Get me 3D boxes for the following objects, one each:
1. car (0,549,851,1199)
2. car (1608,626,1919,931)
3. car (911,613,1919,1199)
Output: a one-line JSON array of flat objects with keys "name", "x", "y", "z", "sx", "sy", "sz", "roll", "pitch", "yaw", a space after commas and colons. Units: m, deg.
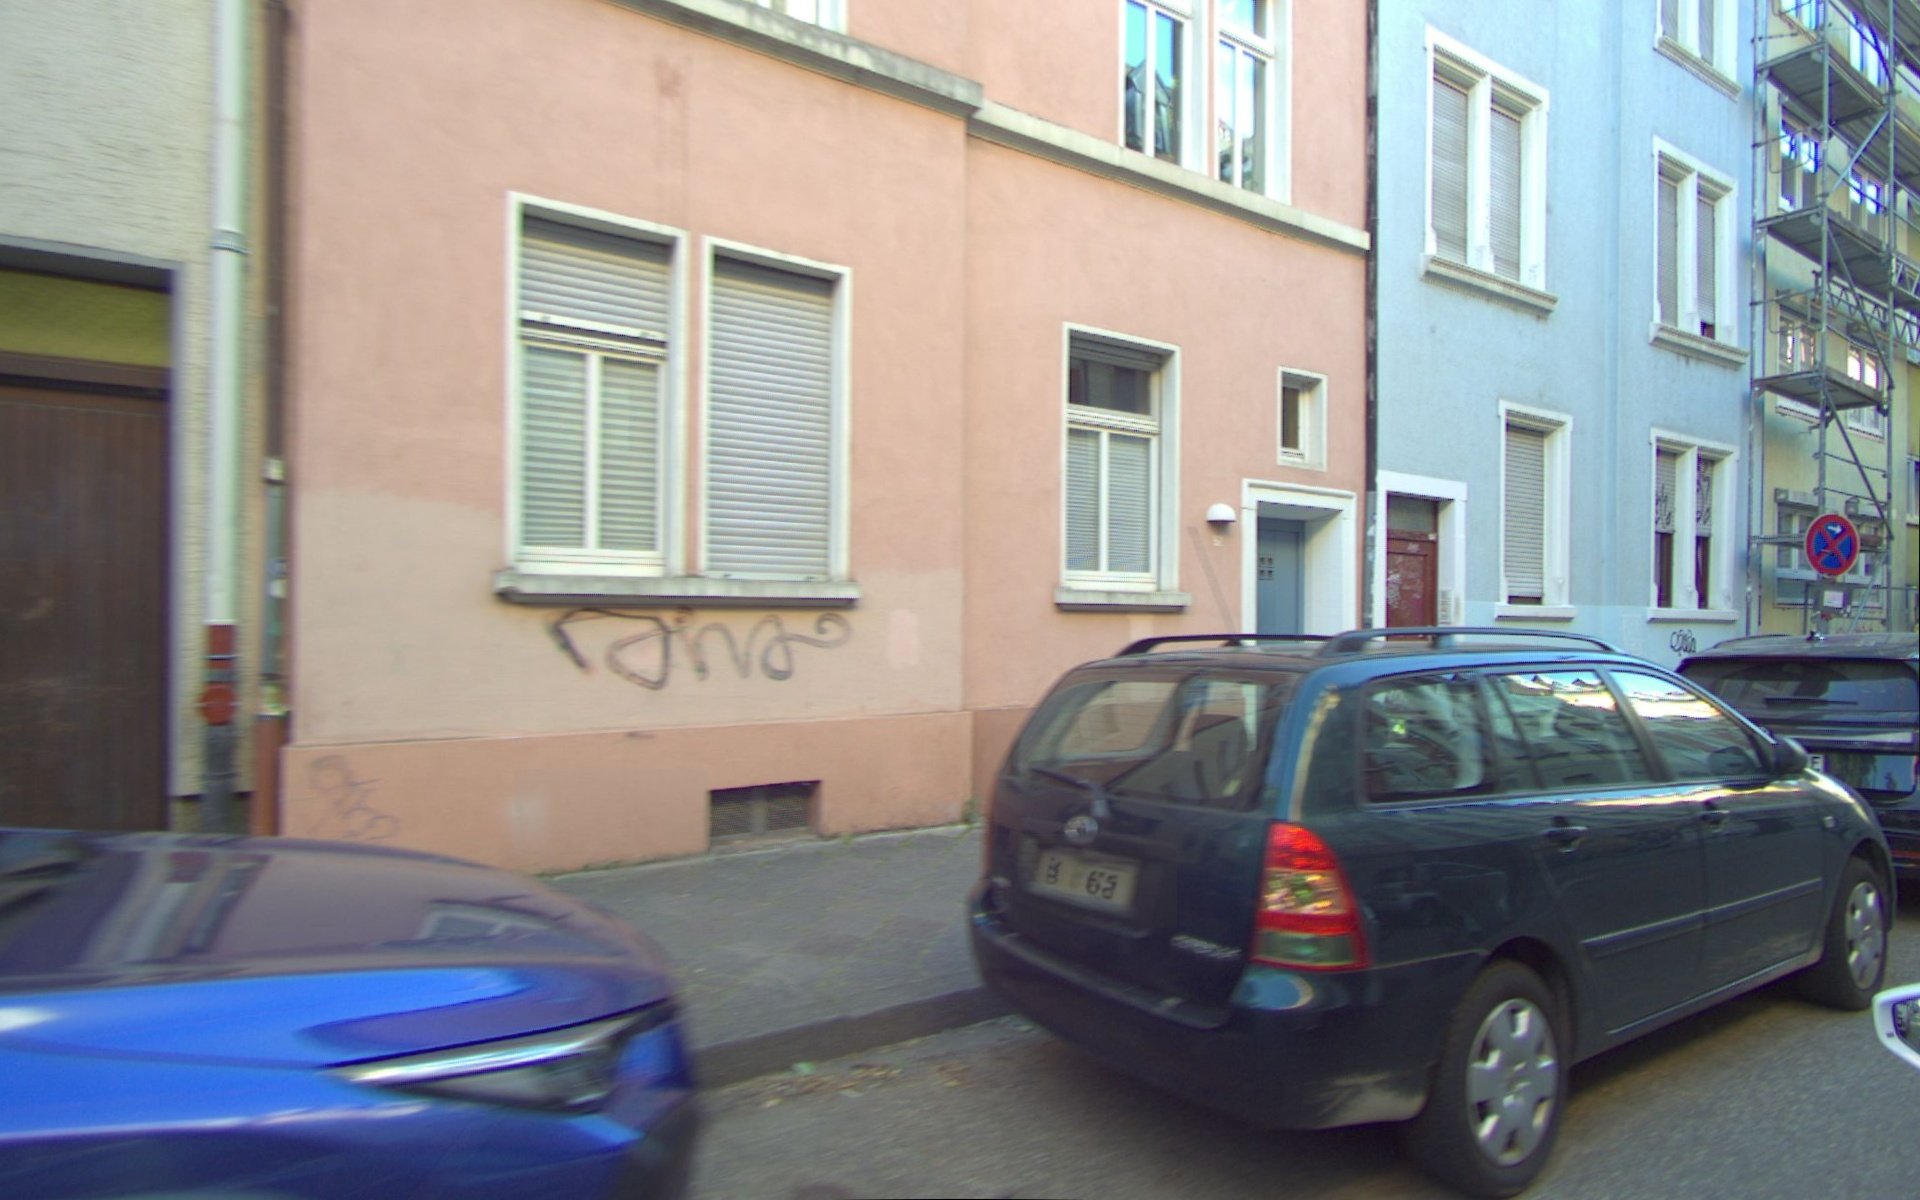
[{"name": "car", "x": -2.437, "y": 0.729, "z": 1.111, "sx": 4.332, "sy": 1.560, "sz": 1.719, "roll": 2, "pitch": -3, "yaw": -34}, {"name": "car", "x": 6.341, "y": 0.949, "z": 6.714, "sx": 4.558, "sy": 1.496, "sz": 1.665, "roll": 2, "pitch": -2, "yaw": -33}, {"name": "car", "x": 2.103, "y": 0.861, "z": 4.036, "sx": 4.367, "sy": 1.531, "sz": 1.665, "roll": 2, "pitch": -2, "yaw": -33}]
